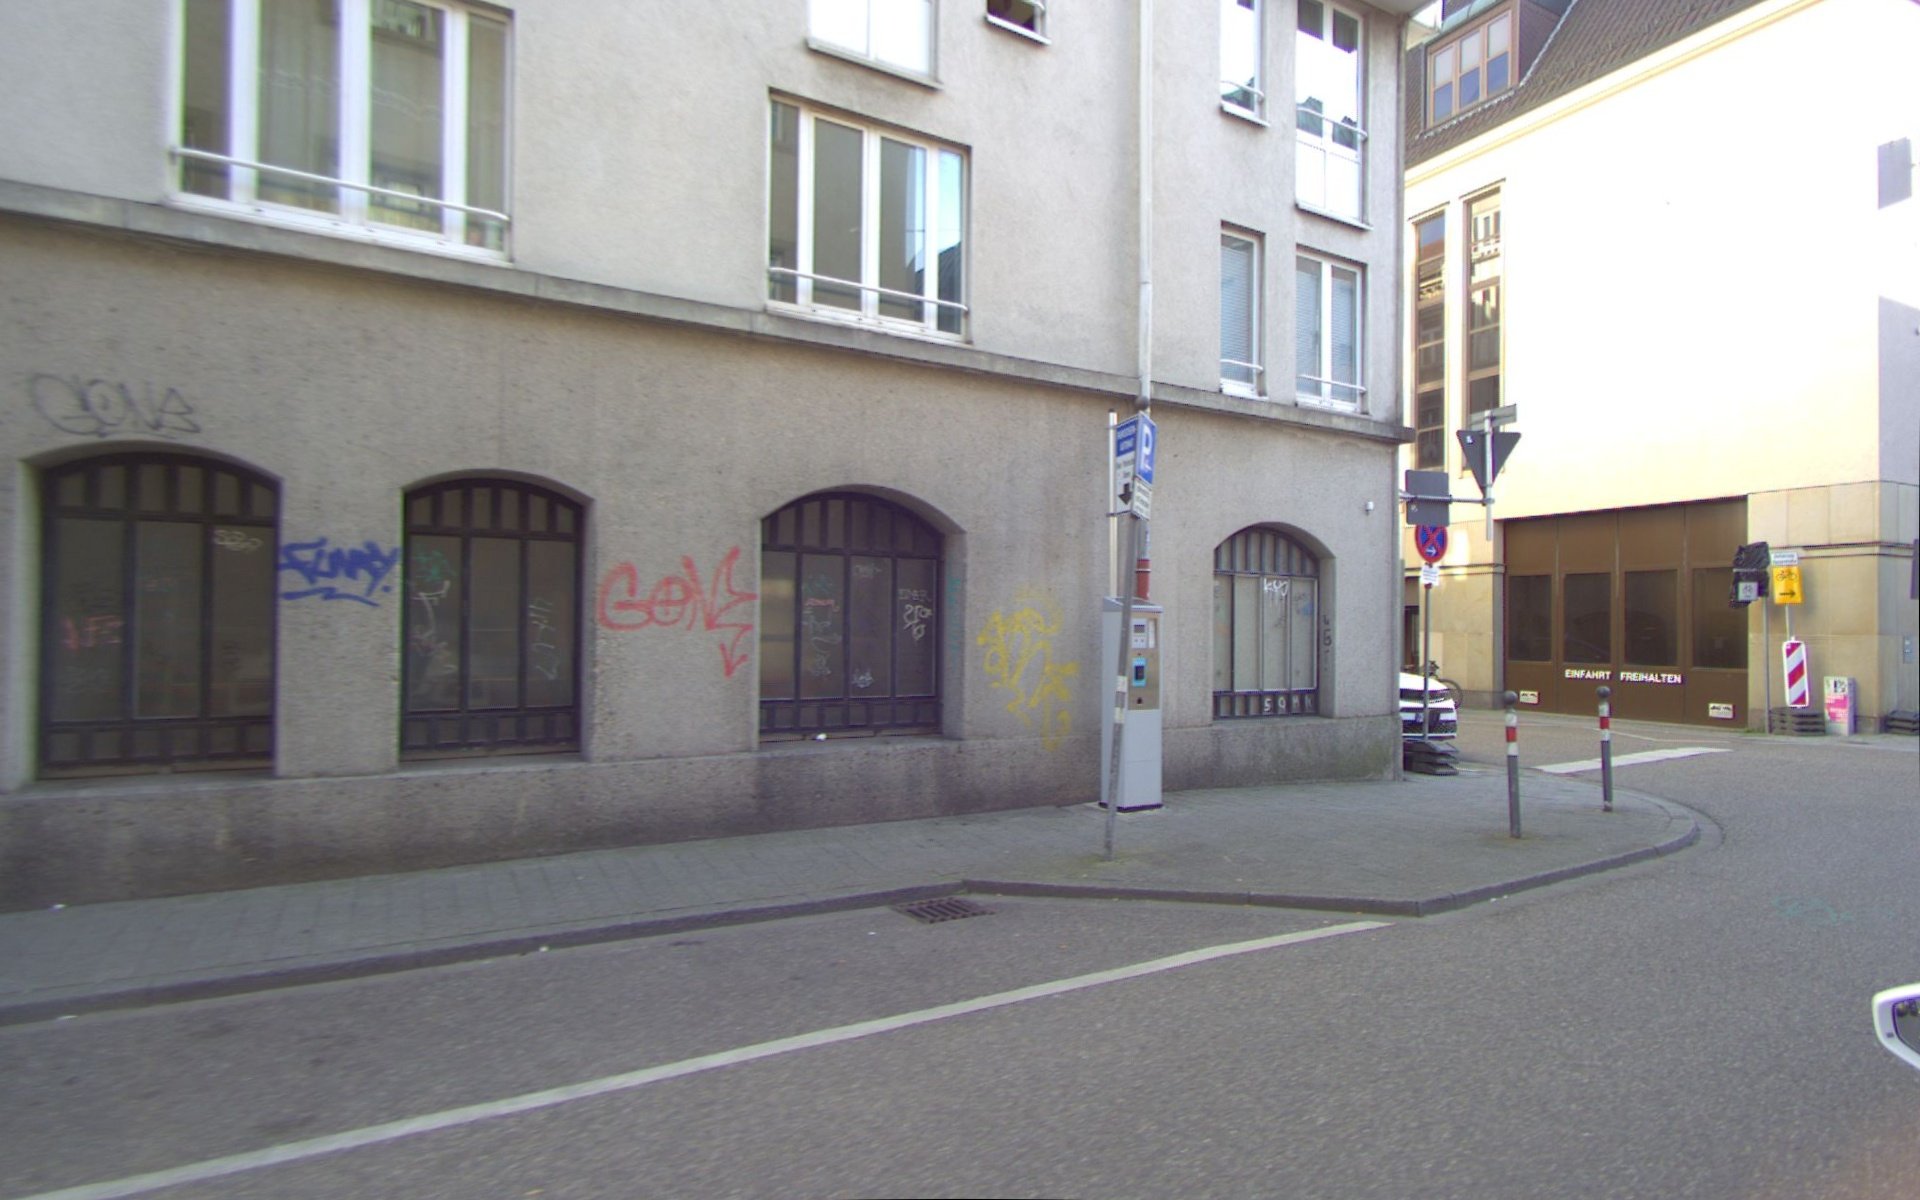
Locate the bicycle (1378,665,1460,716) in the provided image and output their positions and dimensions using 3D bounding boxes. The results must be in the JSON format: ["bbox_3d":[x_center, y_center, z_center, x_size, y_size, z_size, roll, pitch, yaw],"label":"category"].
[{"bbox_3d":[9.769,1.911,21.446,0.223,0.978,1.681,1,-1,-38],"label":"bicycle"}]

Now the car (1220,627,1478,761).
[{"bbox_3d":[5.467,1.259,14.720,1.731,1.677,3.994,1,-2,-9],"label":"car"}]

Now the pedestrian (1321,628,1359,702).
[{"bbox_3d":[9.112,1.540,24.080,0.681,1.725,0.663,0,-1,37],"label":"pedestrian"}]

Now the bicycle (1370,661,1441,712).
[{"bbox_3d":[9.725,1.876,21.950,0.268,1.017,1.473,1,-1,-37],"label":"bicycle"}]
